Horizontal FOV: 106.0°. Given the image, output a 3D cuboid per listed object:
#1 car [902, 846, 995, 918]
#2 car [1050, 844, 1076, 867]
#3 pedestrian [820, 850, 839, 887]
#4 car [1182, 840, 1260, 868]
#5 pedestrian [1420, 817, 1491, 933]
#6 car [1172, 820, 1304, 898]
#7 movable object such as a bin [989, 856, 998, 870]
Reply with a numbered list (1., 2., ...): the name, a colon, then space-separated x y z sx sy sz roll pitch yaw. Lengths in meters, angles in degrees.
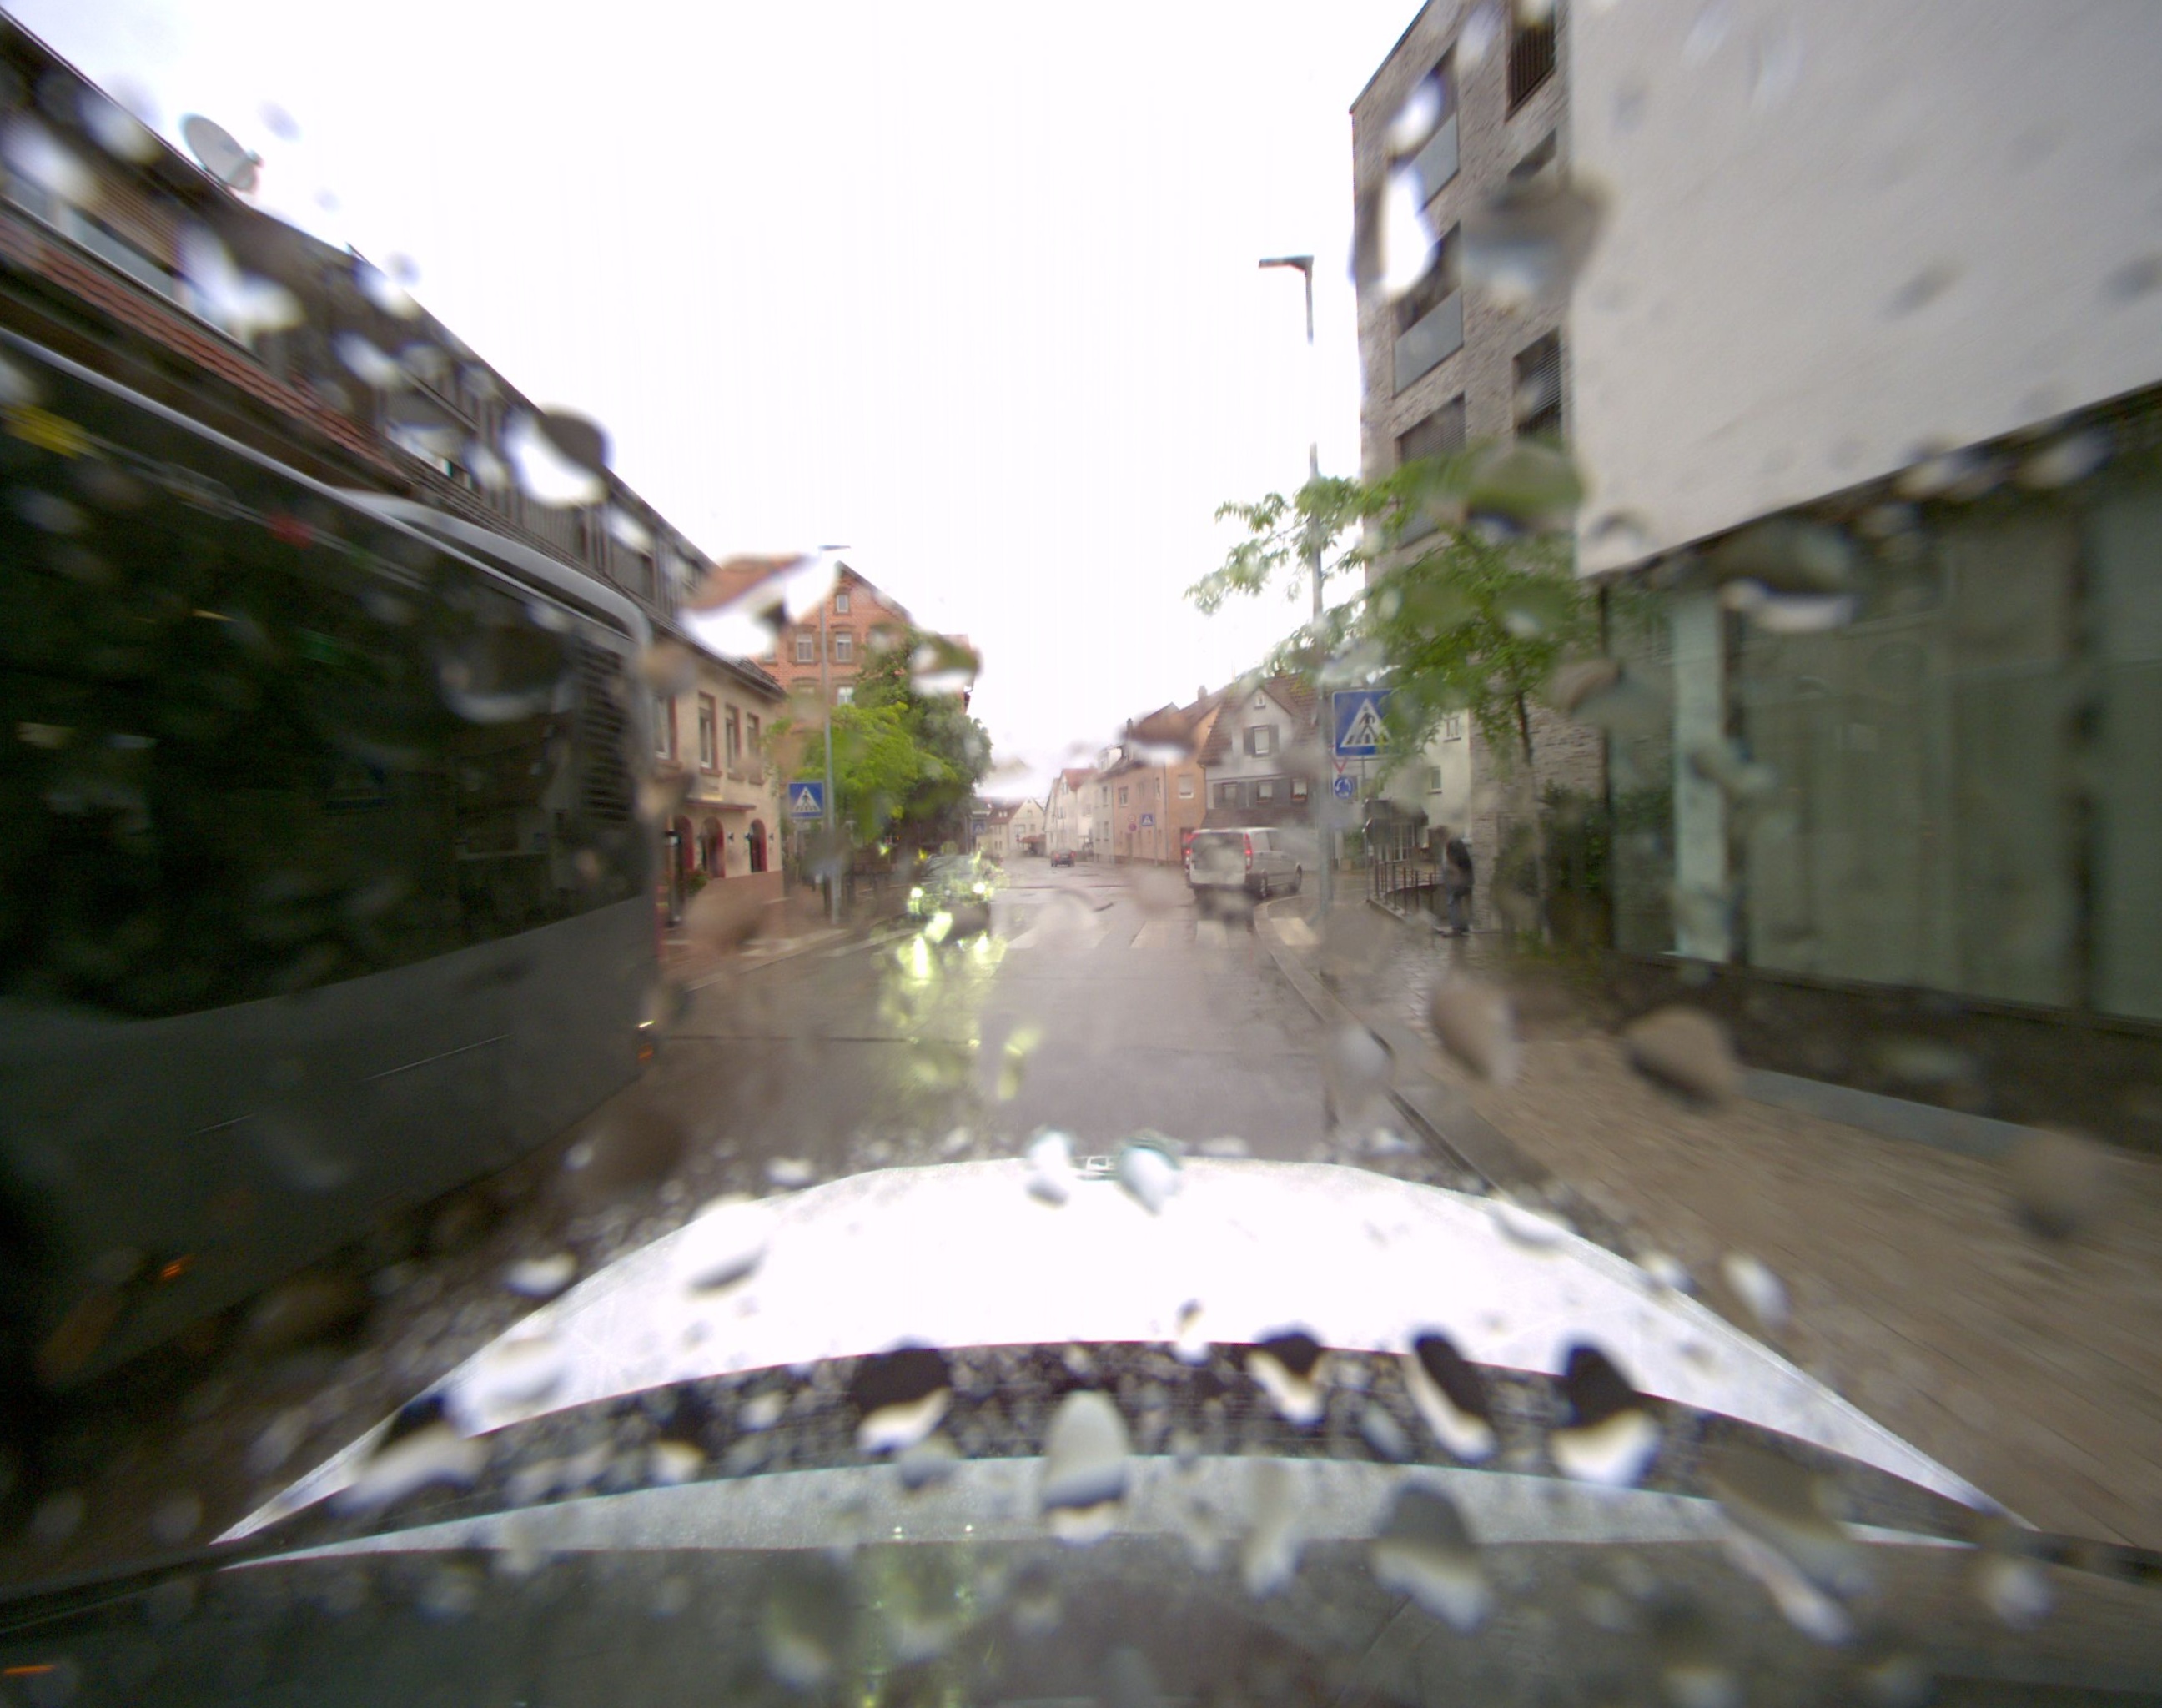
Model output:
1. car: -3.139 0.589 20.074 1.783 1.507 4.463 -2 1 -4
2. car: -1.420 0.138 65.780 1.966 1.679 4.068 -2 -1 0
3. pedestrian: -12.886 0.732 41.777 0.840 1.886 0.822 0 0 -10
4. car: 8.136 -0.007 47.387 3.994 1.486 1.990 -1 -1 -15
5. pedestrian: 5.438 0.294 11.857 0.582 1.606 0.702 -4 0 -7
6. car: 4.486 0.130 22.544 2.132 1.898 4.955 -2 -1 29
7. movable object such as a bin: -7.128 0.725 66.399 0.627 1.173 0.758 0 0 -13
